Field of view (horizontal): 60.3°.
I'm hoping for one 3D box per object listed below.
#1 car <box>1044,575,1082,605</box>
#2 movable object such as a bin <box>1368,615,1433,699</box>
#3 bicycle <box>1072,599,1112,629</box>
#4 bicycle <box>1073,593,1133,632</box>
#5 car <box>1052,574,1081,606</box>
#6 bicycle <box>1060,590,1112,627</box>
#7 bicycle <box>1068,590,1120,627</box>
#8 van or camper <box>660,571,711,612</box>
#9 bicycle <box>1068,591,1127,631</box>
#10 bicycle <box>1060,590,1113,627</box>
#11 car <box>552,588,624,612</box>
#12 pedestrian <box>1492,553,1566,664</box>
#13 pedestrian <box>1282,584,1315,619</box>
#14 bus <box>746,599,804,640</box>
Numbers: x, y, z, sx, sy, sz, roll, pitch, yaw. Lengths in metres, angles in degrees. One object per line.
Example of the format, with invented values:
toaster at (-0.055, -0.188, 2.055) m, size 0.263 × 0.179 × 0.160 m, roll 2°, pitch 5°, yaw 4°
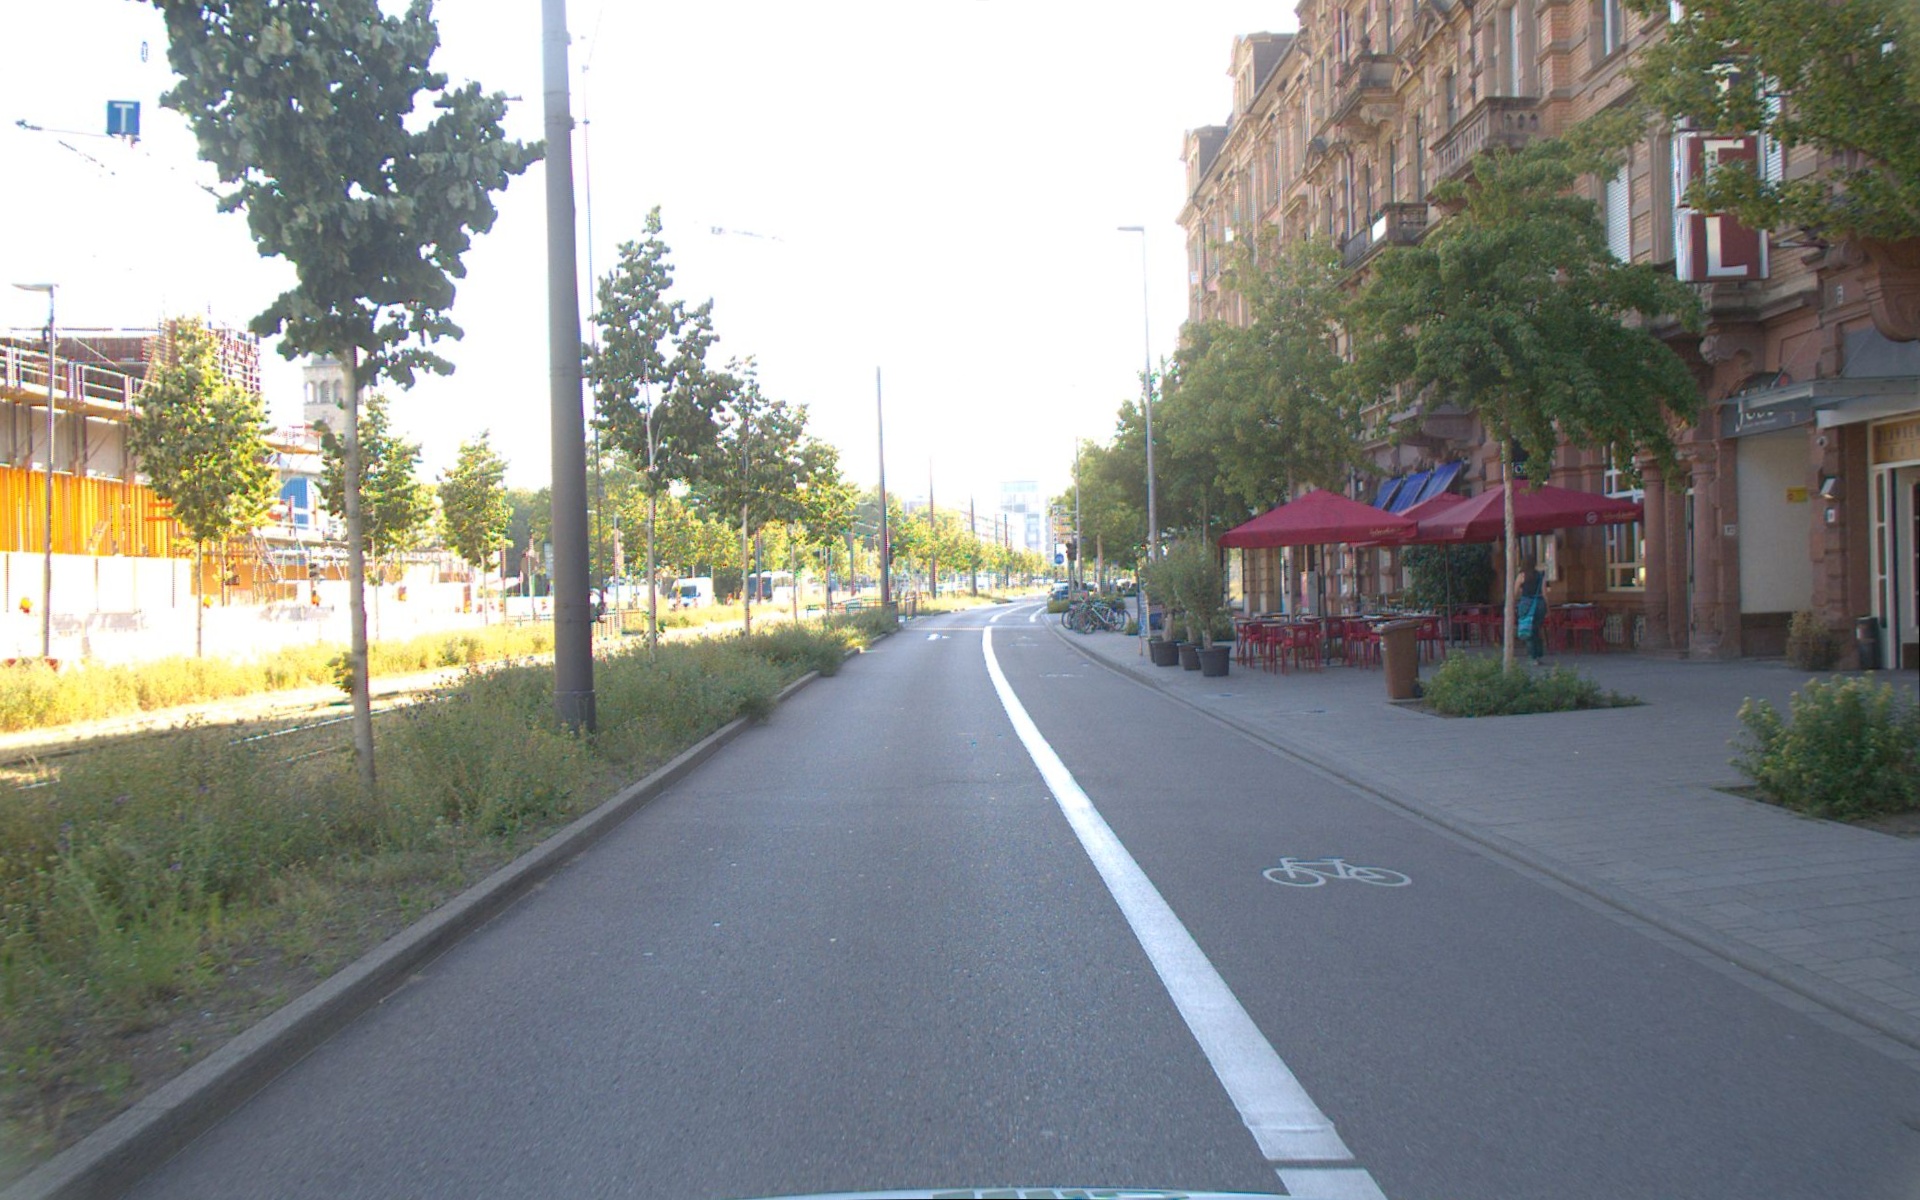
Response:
car at (6.120, -0.602, 98.875) m, size 1.892 × 1.626 × 4.699 m, roll -4°, pitch 1°, yaw 0°
movable object such as a bin at (5.353, 0.688, 20.084) m, size 0.661 × 0.940 × 0.560 m, roll -5°, pitch -1°, yaw 19°
bicycle at (4.334, 0.467, 54.368) m, size 1.248 × 0.892 × 0.507 m, roll -4°, pitch 0°, yaw 5°
bicycle at (4.422, 0.392, 51.205) m, size 1.767 × 1.065 × 0.566 m, roll -4°, pitch 0°, yaw 5°
car at (6.862, -0.665, 106.468) m, size 1.698 × 1.952 × 4.396 m, roll -4°, pitch 1°, yaw 4°
bicycle at (4.387, 0.295, 57.685) m, size 1.717 × 1.123 × 0.507 m, roll -4°, pitch 0°, yaw 5°
bicycle at (4.531, 0.279, 55.812) m, size 1.685 × 1.123 × 0.507 m, roll -4°, pitch 0°, yaw 5°
van or camper at (-18.610, -0.630, 112.548) m, size 2.177 × 2.553 × 7.200 m, roll -4°, pitch 1°, yaw -1°
bicycle at (4.378, 0.337, 52.716) m, size 1.806 × 1.123 × 0.566 m, roll -4°, pitch 0°, yaw 5°
bicycle at (4.366, 0.291, 57.094) m, size 1.717 × 1.123 × 0.507 m, roll -4°, pitch 0°, yaw 5°
car at (-29.423, -0.036, 130.998) m, size 5.116 × 1.747 × 2.126 m, roll -2°, pitch 0°, yaw 5°
pedestrian at (8.361, 0.126, 24.337) m, size 0.713 × 1.560 × 0.797 m, roll -4°, pitch 0°, yaw -1°
pedestrian at (9.838, 0.029, 48.091) m, size 0.797 × 0.979 × 0.804 m, roll -2°, pitch 0°, yaw 1°
bus at (-17.794, 1.801, 159.837) m, size 2.739 × 3.657 × 12.708 m, roll -1°, pitch 1°, yaw 7°
